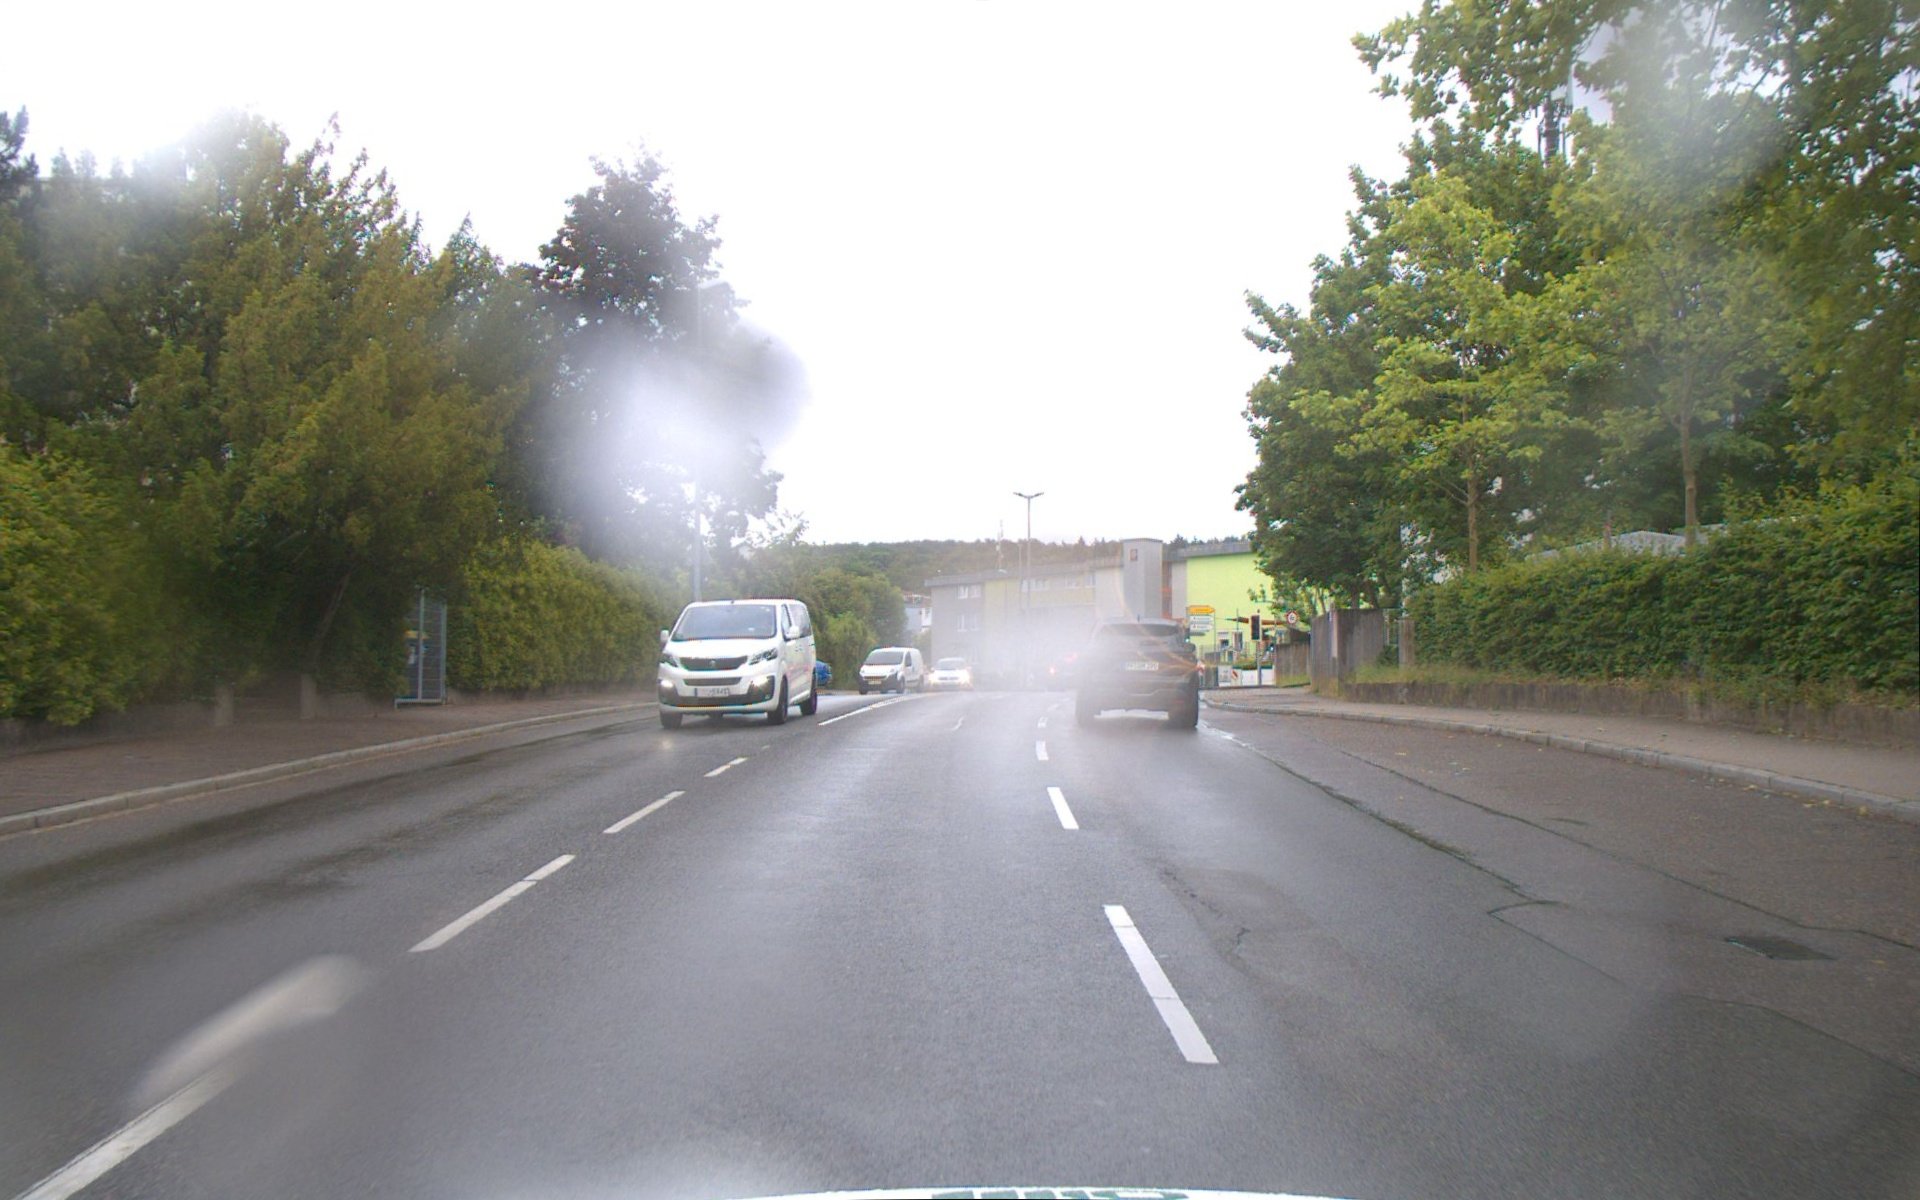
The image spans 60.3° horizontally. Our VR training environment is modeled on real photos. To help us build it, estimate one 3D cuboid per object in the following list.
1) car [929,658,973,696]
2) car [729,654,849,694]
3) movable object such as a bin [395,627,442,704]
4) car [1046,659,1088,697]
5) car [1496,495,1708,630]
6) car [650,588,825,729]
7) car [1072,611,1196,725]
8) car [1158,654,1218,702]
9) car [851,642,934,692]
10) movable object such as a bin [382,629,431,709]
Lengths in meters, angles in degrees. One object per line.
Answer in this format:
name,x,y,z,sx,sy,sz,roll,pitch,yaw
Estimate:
car,-0.371,3.452,74.364,1.600,1.607,4.058,-3,-3,4
car,-6.580,2.859,63.833,4.391,1.386,1.805,1,-1,0
movable object such as a bin,-9.684,1.167,29.579,0.536,1.349,0.806,1,-1,2
car,4.653,3.379,72.194,1.648,1.532,3.773,0,-1,1
car,11.644,-0.679,30.317,1.955,2.265,4.129,1,1,-6
car,-3.412,0.866,26.297,1.825,1.950,5.030,-2,-1,2
car,2.656,0.991,25.857,1.752,1.631,4.255,0,0,4
car,7.936,2.674,57.318,1.951,1.467,4.003,1,-1,9
car,-2.515,2.567,62.571,1.666,1.738,3.978,2,-2,21
movable object such as a bin,-9.457,1.171,28.282,0.536,1.349,0.806,1,-1,2
